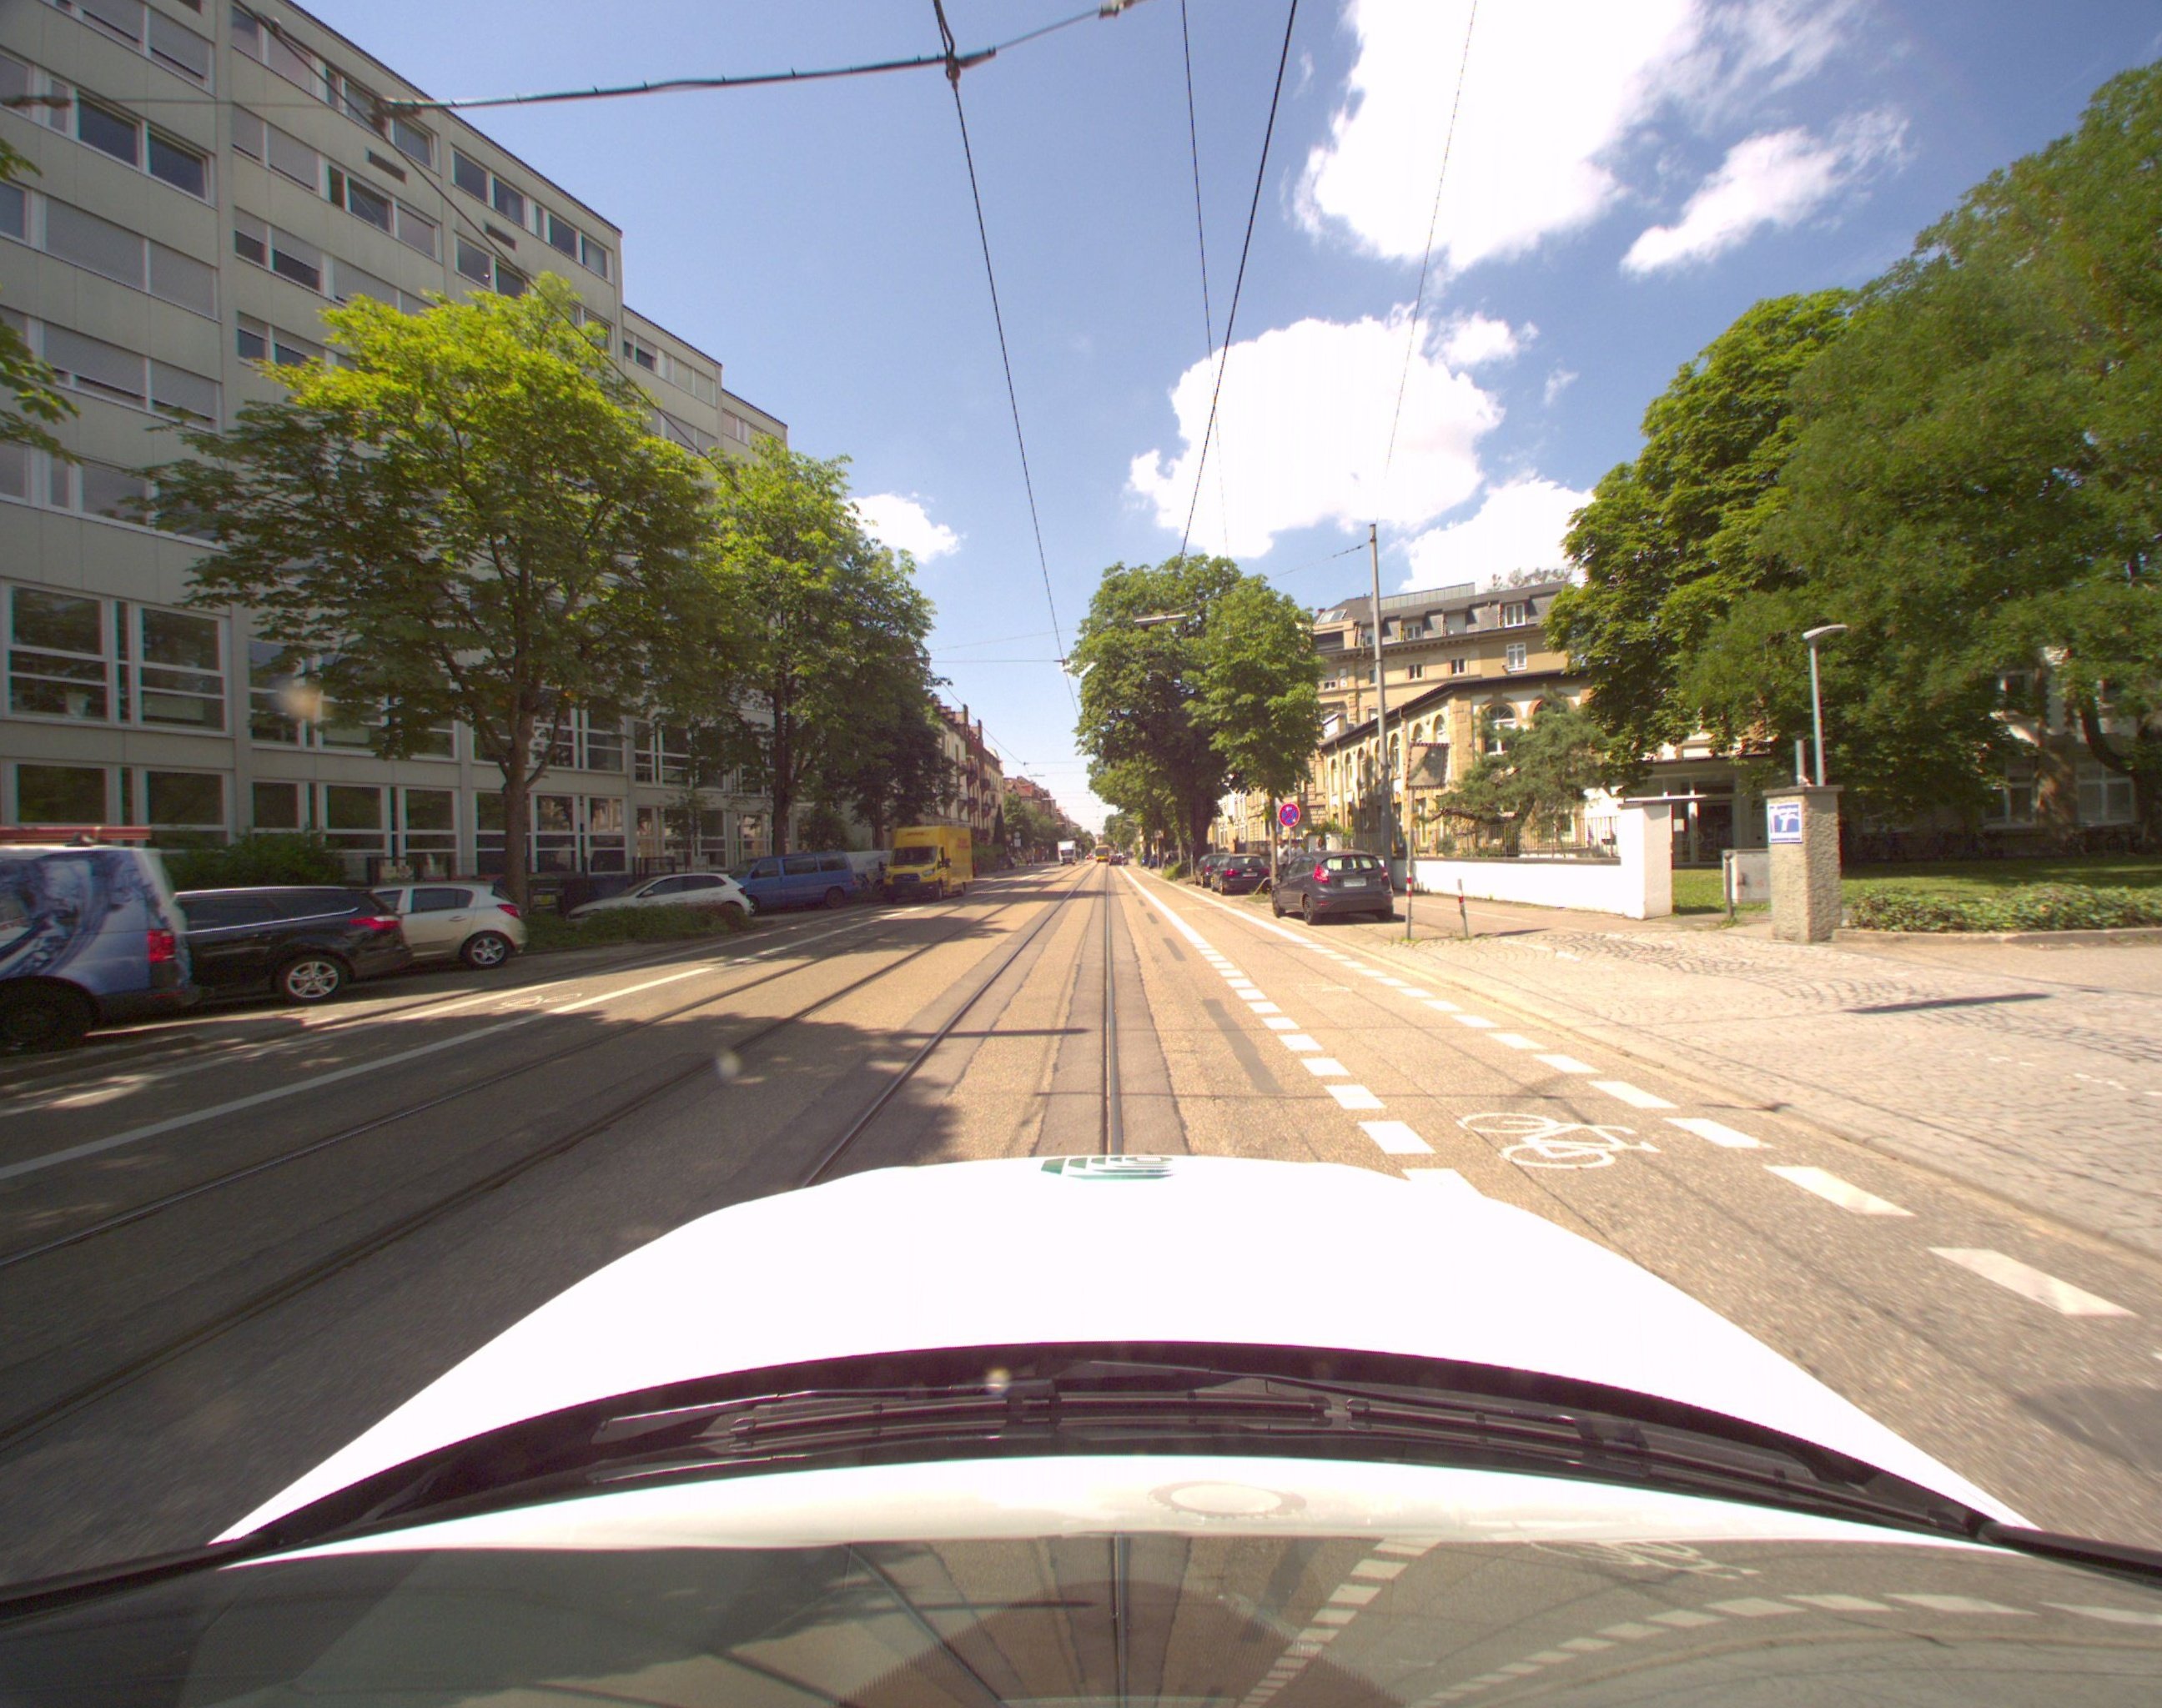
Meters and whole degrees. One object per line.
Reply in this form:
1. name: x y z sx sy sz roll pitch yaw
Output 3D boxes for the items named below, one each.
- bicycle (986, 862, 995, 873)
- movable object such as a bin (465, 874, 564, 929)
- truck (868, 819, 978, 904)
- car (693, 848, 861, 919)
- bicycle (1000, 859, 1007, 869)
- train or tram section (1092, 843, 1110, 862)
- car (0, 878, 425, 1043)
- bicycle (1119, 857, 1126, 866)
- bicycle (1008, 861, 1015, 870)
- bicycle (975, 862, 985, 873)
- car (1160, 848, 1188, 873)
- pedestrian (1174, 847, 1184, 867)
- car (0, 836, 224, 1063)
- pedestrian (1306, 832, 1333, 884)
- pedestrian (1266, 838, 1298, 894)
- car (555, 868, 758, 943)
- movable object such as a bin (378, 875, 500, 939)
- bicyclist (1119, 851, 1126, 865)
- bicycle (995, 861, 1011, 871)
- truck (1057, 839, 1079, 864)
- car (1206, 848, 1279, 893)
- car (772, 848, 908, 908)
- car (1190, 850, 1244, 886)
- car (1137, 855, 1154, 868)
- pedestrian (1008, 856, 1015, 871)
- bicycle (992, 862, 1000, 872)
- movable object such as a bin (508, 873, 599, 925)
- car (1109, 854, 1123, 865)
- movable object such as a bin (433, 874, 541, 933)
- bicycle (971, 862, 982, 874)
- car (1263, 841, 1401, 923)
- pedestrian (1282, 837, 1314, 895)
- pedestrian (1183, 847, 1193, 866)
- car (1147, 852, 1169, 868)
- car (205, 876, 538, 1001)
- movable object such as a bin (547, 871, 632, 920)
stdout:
1. bicycle: -8.364 1.220 75.032 0.541 0.969 1.991 0 1 2
2. movable object such as a bin: -16.003 1.320 23.064 1.756 1.410 1.424 -3 0 1
3. truck: -5.969 0.254 32.032 2.351 2.852 7.384 -3 0 3
4. car: -9.883 0.904 26.781 4.759 1.955 1.824 -3 0 -44
5. bicycle: -8.301 1.064 87.157 0.541 0.969 1.782 0 0 2
6. train or tram section: 3.761 -0.271 152.630 3.023 3.438 11.977 -2 0 2
7. car: -10.738 1.183 10.201 3.731 1.507 1.795 -3 -1 -45
8. bicycle: 4.772 0.903 93.731 0.635 0.969 1.786 -1 -2 11
9. bicycle: -7.799 1.332 91.668 0.541 0.969 1.782 0 1 2
10. bicycle: -8.625 1.164 69.729 0.541 0.969 1.990 0 -2 2
11. car: 6.619 0.467 58.466 1.586 1.616 3.908 -3 -1 1
12. pedestrian: 9.340 0.296 77.329 0.806 1.860 0.576 -2 -2 -1
13. car: -10.830 0.925 6.934 1.897 1.934 4.786 -4 -1 44
14. pedestrian: 8.048 0.137 27.491 0.480 1.737 0.614 -3 -1 -34
15. pedestrian: 6.838 0.401 27.706 0.579 1.859 0.802 -2 0 -34
16. car: -10.405 1.224 20.168 1.740 1.433 4.025 -5 -1 43
17. movable object such as a bin: -15.765 1.276 20.065 1.756 1.410 1.490 -3 0 1
18. bicyclist: 4.760 0.485 93.813 0.618 1.616 0.867 -1 -2 10
19. bicycle: -7.398 1.158 77.675 0.538 0.969 1.792 -1 -2 31
20. truck: -1.956 -0.348 124.742 2.928 3.550 8.456 -2 0 2
21. car: 5.836 0.570 29.940 1.869 1.455 4.530 -3 -1 2
22. car: -9.720 0.930 33.033 4.785 2.062 2.003 -3 0 -38
23. car: 5.996 0.606 36.318 1.705 1.423 4.244 -3 -1 1
24. car: 7.568 0.849 95.898 1.705 1.423 4.310 -3 -1 1
25. pedestrian: -7.599 1.053 88.654 0.570 1.615 0.817 -2 0 2
26. bicycle: -8.468 1.262 80.922 0.541 0.969 1.782 0 0 2
27. movable object such as a bin: -15.858 1.336 24.539 1.756 1.410 1.424 -3 0 1
28. car: 4.437 0.725 103.843 1.774 1.345 3.417 -2 0 2
29. movable object such as a bin: -15.716 1.290 21.609 1.756 1.410 1.424 -3 0 1
30. bicycle: -8.695 1.124 67.654 0.541 0.969 1.991 0 -1 2
31. car: 5.233 0.551 17.527 1.634 1.485 3.870 -2 -1 -2
32. pedestrian: 7.075 0.397 26.597 0.579 1.859 0.718 -2 0 -34
33. pedestrian: 10.238 0.238 77.755 0.806 1.860 0.623 -2 -2 -1
34. car: 7.341 0.576 77.697 1.705 1.423 4.310 -3 -1 1
35. car: -11.023 1.208 12.894 3.731 1.467 1.741 -3 -1 -44
36. movable object such as a bin: -15.666 1.312 26.028 1.756 1.410 1.424 -3 0 1
